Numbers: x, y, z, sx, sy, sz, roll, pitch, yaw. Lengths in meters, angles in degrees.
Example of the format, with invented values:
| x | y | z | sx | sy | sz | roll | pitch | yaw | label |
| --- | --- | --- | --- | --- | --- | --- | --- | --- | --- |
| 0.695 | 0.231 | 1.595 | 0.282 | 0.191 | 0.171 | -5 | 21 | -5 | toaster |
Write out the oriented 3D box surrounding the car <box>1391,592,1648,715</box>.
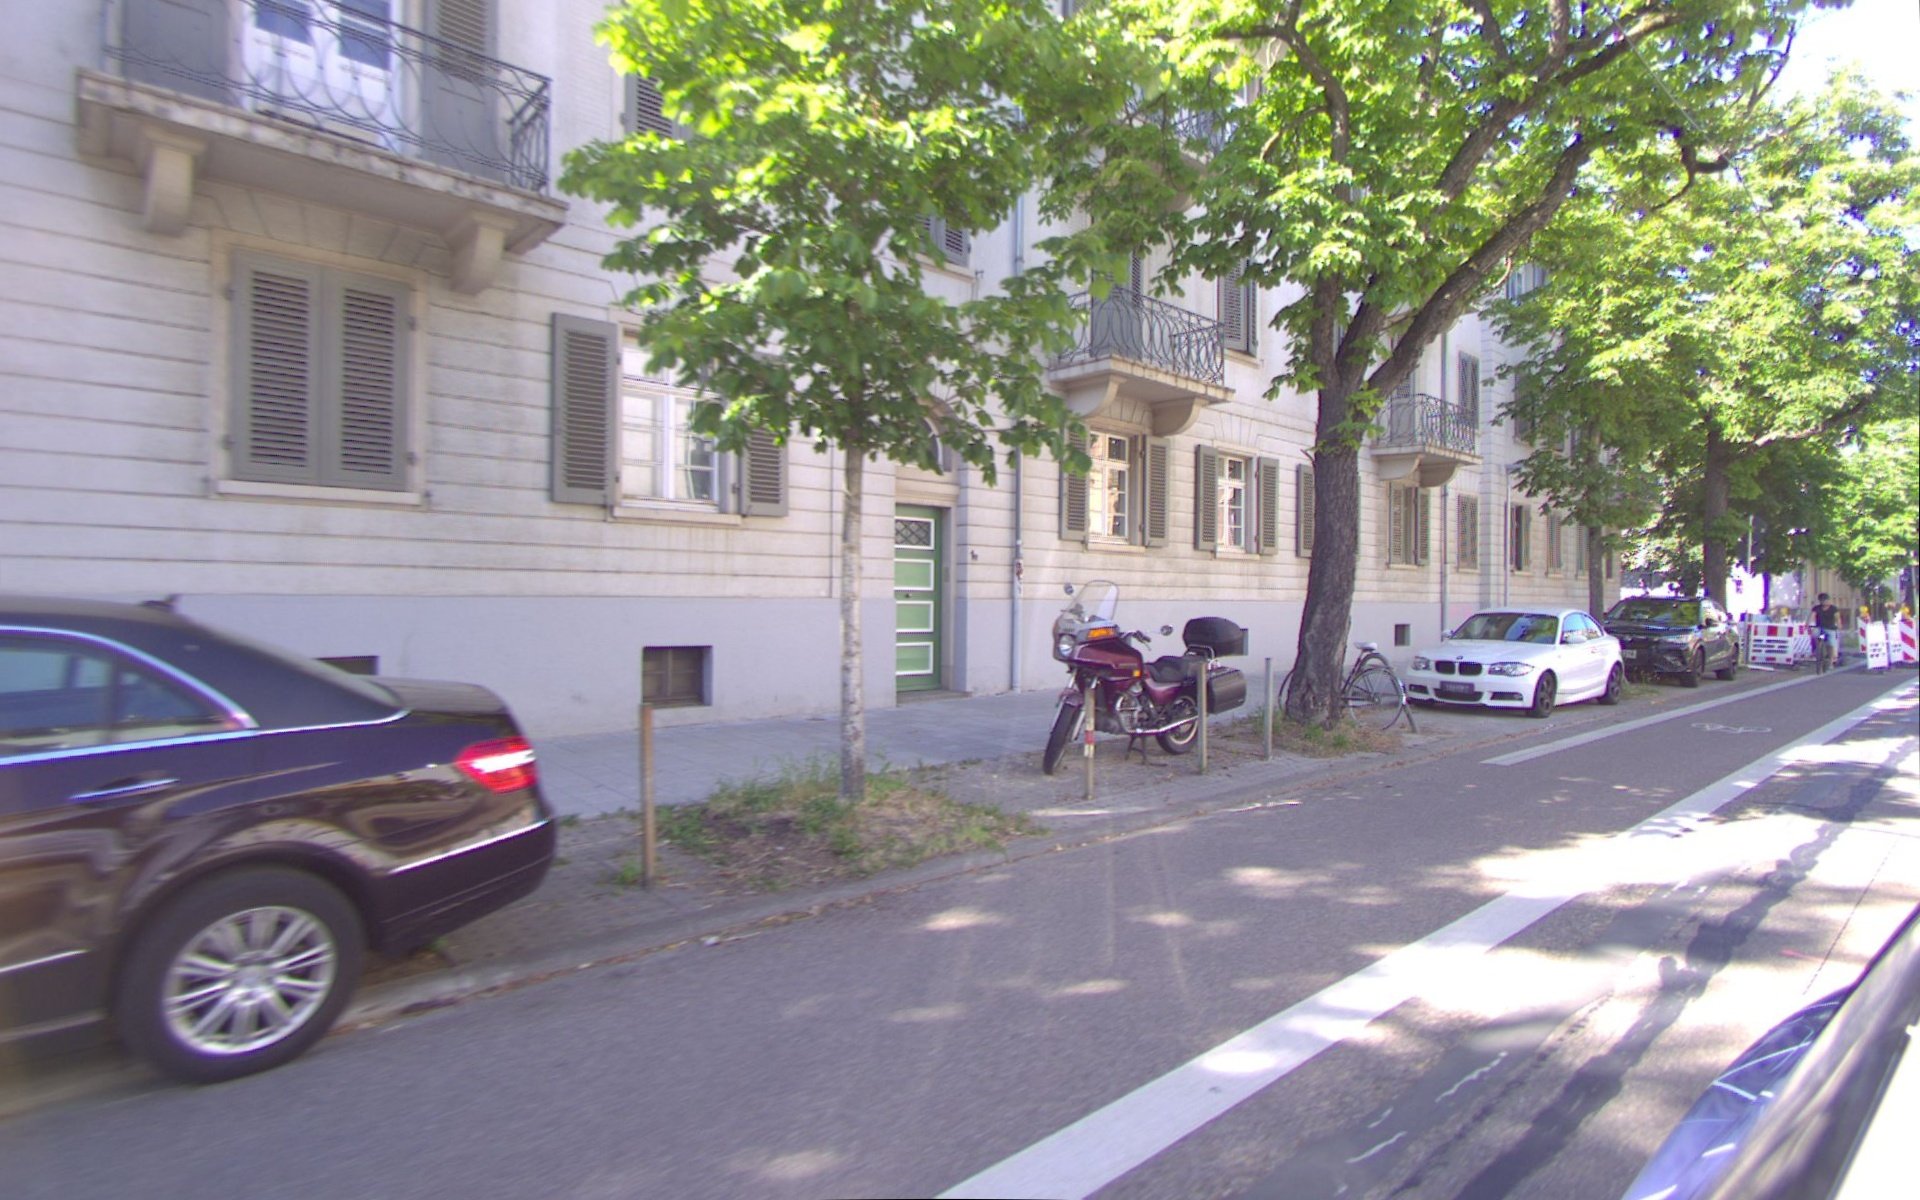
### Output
| x | y | z | sx | sy | sz | roll | pitch | yaw | label |
| --- | --- | --- | --- | --- | --- | --- | --- | --- | --- |
| 7.929 | 0.644 | 14.170 | 4.279 | 1.399 | 1.727 | 0 | 2 | -41 | car |

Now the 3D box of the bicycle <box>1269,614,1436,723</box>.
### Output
| x | y | z | sx | sy | sz | roll | pitch | yaw | label |
| --- | --- | --- | --- | --- | --- | --- | --- | --- | --- |
| 4.431 | 0.738 | 11.523 | 0.673 | 1.056 | 1.623 | 0 | 2 | -40 | bicycle |

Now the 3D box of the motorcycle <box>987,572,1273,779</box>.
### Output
| x | y | z | sx | sy | sz | roll | pitch | yaw | label |
| --- | --- | --- | --- | --- | --- | --- | --- | --- | --- |
| 1.524 | 0.546 | 8.672 | 2.632 | 1.507 | 0.915 | 0 | 2 | -41 | motorcycle |

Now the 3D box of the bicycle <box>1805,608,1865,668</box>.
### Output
| x | y | z | sx | sy | sz | roll | pitch | yaw | label |
| --- | --- | --- | --- | --- | --- | --- | --- | --- | --- |
| 19.533 | 0.822 | 22.581 | 2.060 | 1.258 | 0.762 | 0 | -1 | -43 | bicycle |

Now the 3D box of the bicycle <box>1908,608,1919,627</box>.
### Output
| x | y | z | sx | sy | sz | roll | pitch | yaw | label |
| --- | --- | --- | --- | --- | --- | --- | --- | --- | --- |
| 52.647 | 0.972 | 55.027 | 1.563 | 0.992 | 0.631 | 2 | 1 | 40 | bicycle |

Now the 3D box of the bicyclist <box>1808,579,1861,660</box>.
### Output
| x | y | z | sx | sy | sz | roll | pitch | yaw | label |
| --- | --- | --- | --- | --- | --- | --- | --- | --- | --- |
| 19.528 | 0.426 | 22.584 | 1.029 | 1.761 | 0.762 | 1 | -1 | -42 | bicyclist |

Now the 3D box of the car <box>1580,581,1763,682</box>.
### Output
| x | y | z | sx | sy | sz | roll | pitch | yaw | label |
| --- | --- | --- | --- | --- | --- | --- | --- | --- | --- |
| 13.670 | 0.524 | 19.333 | 4.504 | 1.646 | 1.814 | 0 | 3 | -42 | car |

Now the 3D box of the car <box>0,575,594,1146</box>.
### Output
| x | y | z | sx | sy | sz | roll | pitch | yaw | label |
| --- | --- | --- | --- | --- | --- | --- | --- | --- | --- |
| -3.702 | 0.682 | 2.805 | 1.822 | 1.476 | 4.741 | 3 | 2 | 44 | car |

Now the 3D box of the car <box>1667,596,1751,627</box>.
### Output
| x | y | z | sx | sy | sz | roll | pitch | yaw | label |
| --- | --- | --- | --- | --- | --- | --- | --- | --- | --- |
| 41.866 | 0.608 | 56.649 | 1.687 | 1.557 | 3.447 | -3 | 1 | -14 | car |

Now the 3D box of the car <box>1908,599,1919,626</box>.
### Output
| x | y | z | sx | sy | sz | roll | pitch | yaw | label |
| --- | --- | --- | --- | --- | --- | --- | --- | --- | --- |
| 56.391 | 0.722 | 58.685 | 4.141 | 1.490 | 1.704 | 0 | 2 | -42 | car |
